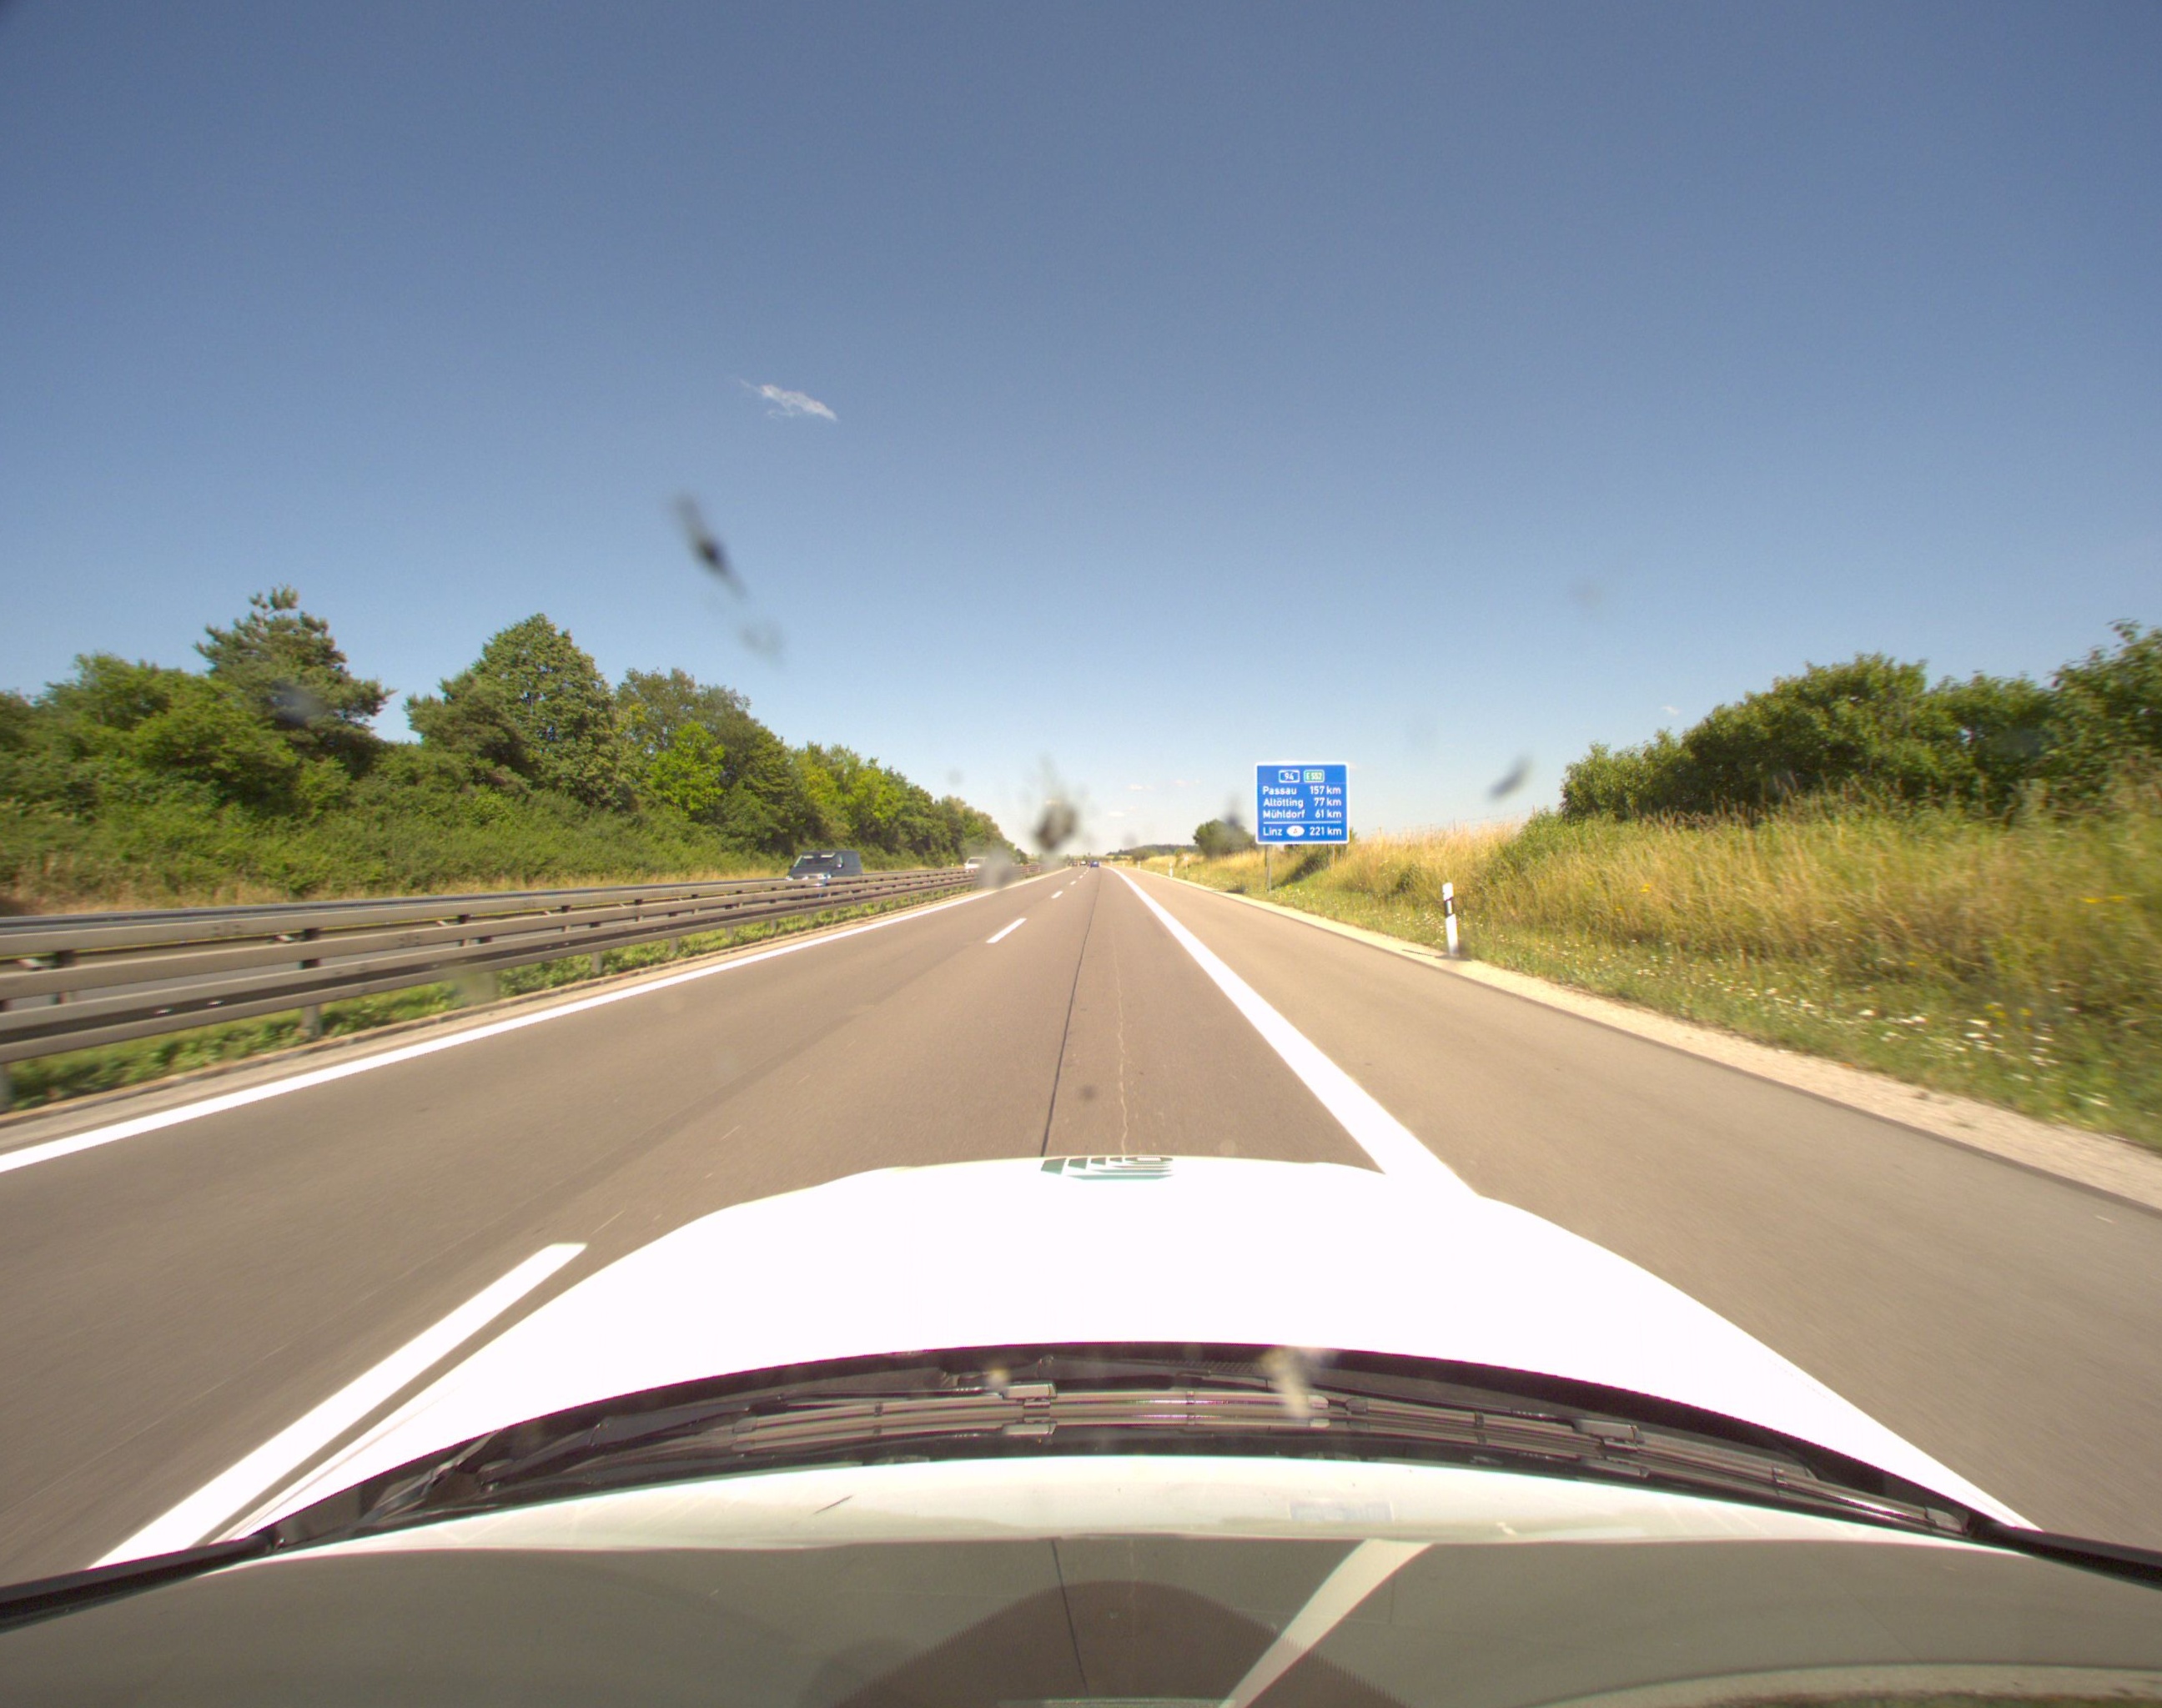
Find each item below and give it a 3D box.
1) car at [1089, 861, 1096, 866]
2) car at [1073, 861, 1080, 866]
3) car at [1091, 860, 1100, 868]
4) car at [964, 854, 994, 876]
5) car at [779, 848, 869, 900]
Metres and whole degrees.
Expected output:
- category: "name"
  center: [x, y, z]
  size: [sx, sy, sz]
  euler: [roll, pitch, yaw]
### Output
- category: "car"
  center: [3.042, 2.550, 219.195]
  size: [1.822, 1.453, 3.594]
  euler: [-2, -1, 2]
- category: "car"
  center: [-1.276, 2.783, 240.981]
  size: [1.822, 1.453, 3.594]
  euler: [-2, -1, 2]
- category: "car"
  center: [3.006, 2.012, 163.678]
  size: [1.669, 1.453, 3.594]
  euler: [-2, -1, 3]
- category: "car"
  center: [-9.830, 1.069, 78.593]
  size: [1.986, 1.990, 5.693]
  euler: [-1, 0, 1]
- category: "car"
  center: [-10.577, 0.794, 33.928]
  size: [1.986, 1.973, 5.041]
  euler: [-1, 0, 2]
